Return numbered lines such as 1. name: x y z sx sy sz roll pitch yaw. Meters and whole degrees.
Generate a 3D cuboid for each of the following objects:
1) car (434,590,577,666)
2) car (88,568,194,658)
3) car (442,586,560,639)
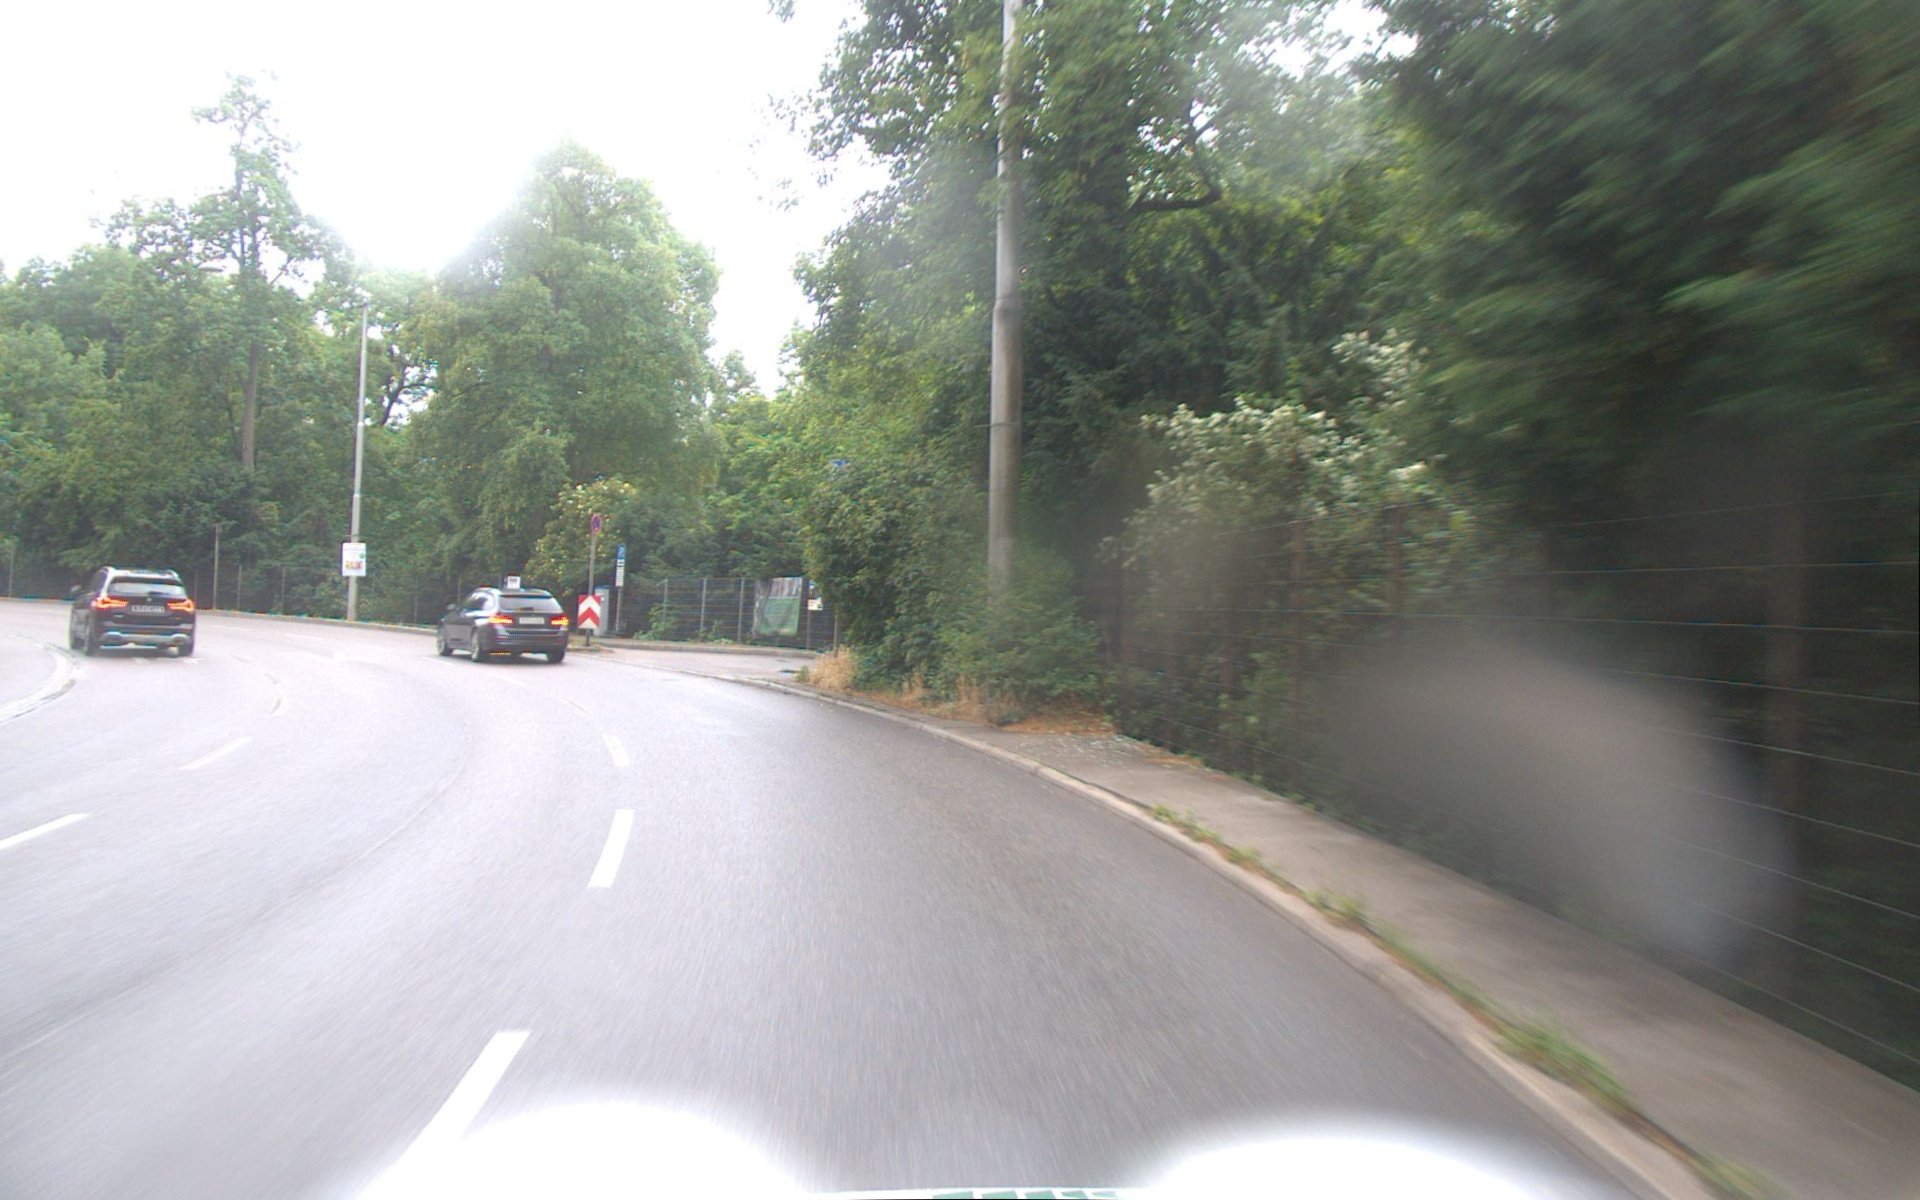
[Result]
1. car: -9.423 0.542 34.078 1.740 1.457 4.365 0 0 -31
2. car: -16.214 0.220 32.705 1.737 1.613 4.374 1 1 -27
3. car: -14.974 0.404 53.874 4.298 1.451 1.681 2 -3 44
